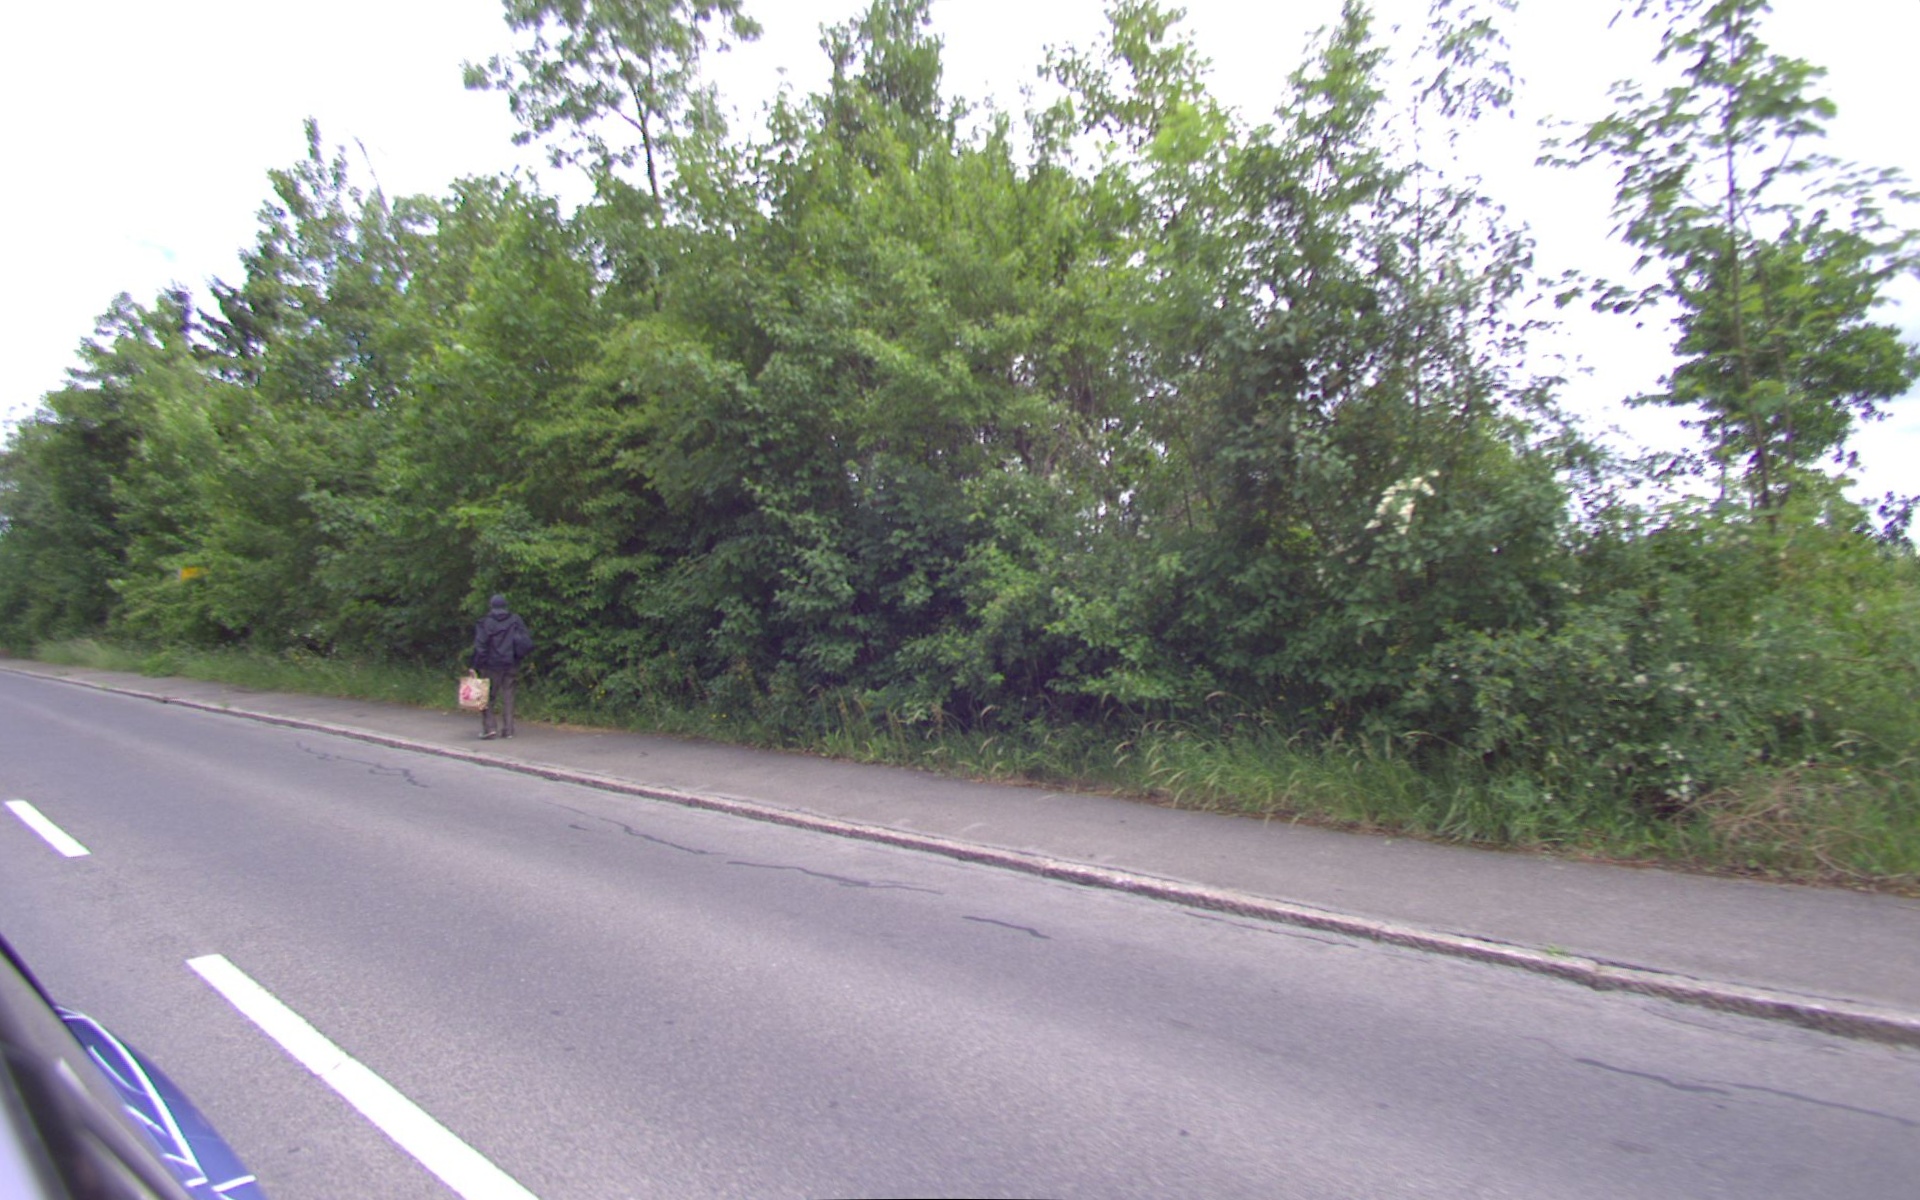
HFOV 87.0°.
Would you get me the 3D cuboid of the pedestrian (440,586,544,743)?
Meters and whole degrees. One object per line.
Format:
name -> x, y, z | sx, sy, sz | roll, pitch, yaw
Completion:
pedestrian -> -5.598, 0.753, 12.123 | 0.788, 1.783, 0.860 | -2, -2, 36
